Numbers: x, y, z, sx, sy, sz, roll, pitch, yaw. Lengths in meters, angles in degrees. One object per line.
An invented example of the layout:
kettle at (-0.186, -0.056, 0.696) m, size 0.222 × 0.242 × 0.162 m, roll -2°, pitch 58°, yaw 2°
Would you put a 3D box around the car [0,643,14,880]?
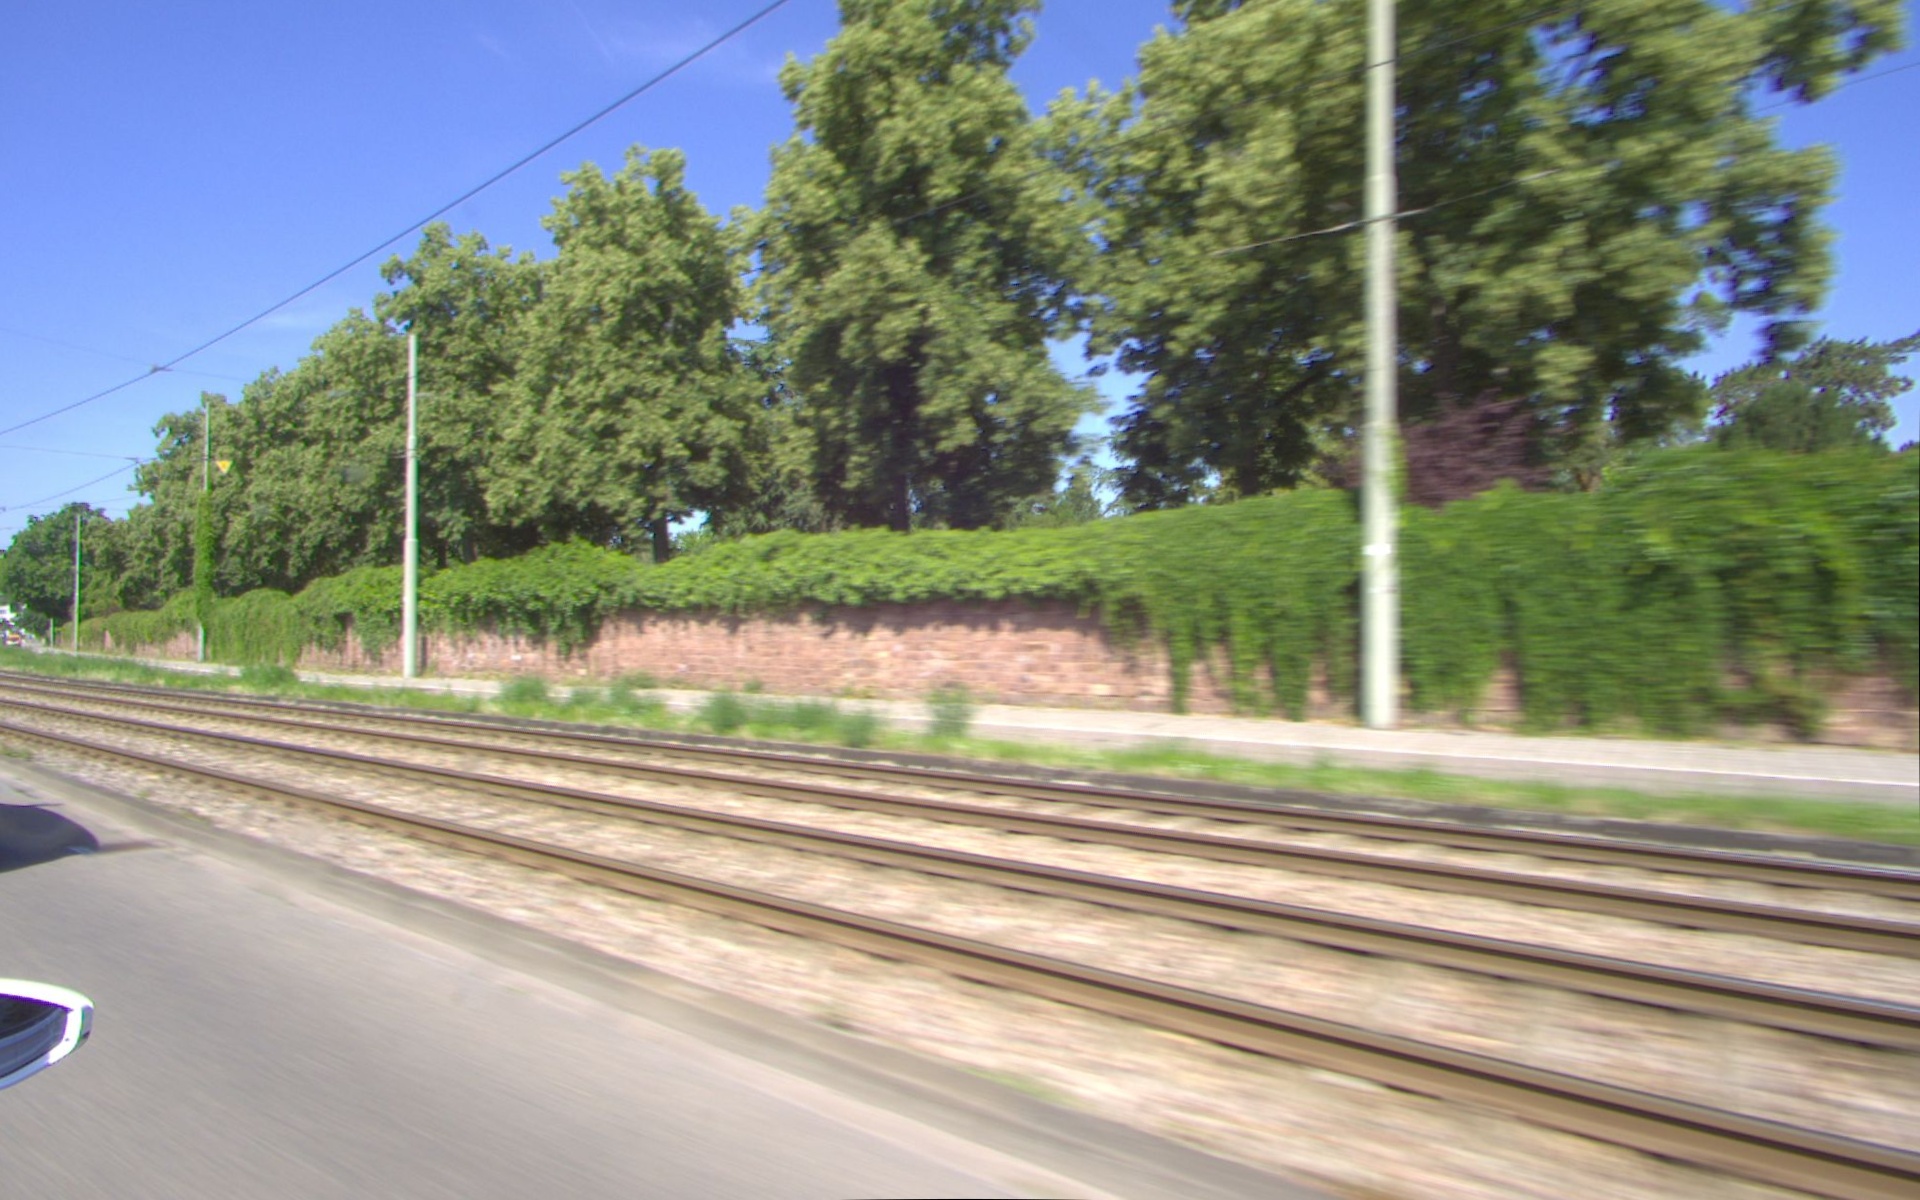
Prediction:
car at (-8.228, 0.987, 6.902) m, size 4.400 × 1.469 × 1.687 m, roll 0°, pitch -3°, yaw 36°
